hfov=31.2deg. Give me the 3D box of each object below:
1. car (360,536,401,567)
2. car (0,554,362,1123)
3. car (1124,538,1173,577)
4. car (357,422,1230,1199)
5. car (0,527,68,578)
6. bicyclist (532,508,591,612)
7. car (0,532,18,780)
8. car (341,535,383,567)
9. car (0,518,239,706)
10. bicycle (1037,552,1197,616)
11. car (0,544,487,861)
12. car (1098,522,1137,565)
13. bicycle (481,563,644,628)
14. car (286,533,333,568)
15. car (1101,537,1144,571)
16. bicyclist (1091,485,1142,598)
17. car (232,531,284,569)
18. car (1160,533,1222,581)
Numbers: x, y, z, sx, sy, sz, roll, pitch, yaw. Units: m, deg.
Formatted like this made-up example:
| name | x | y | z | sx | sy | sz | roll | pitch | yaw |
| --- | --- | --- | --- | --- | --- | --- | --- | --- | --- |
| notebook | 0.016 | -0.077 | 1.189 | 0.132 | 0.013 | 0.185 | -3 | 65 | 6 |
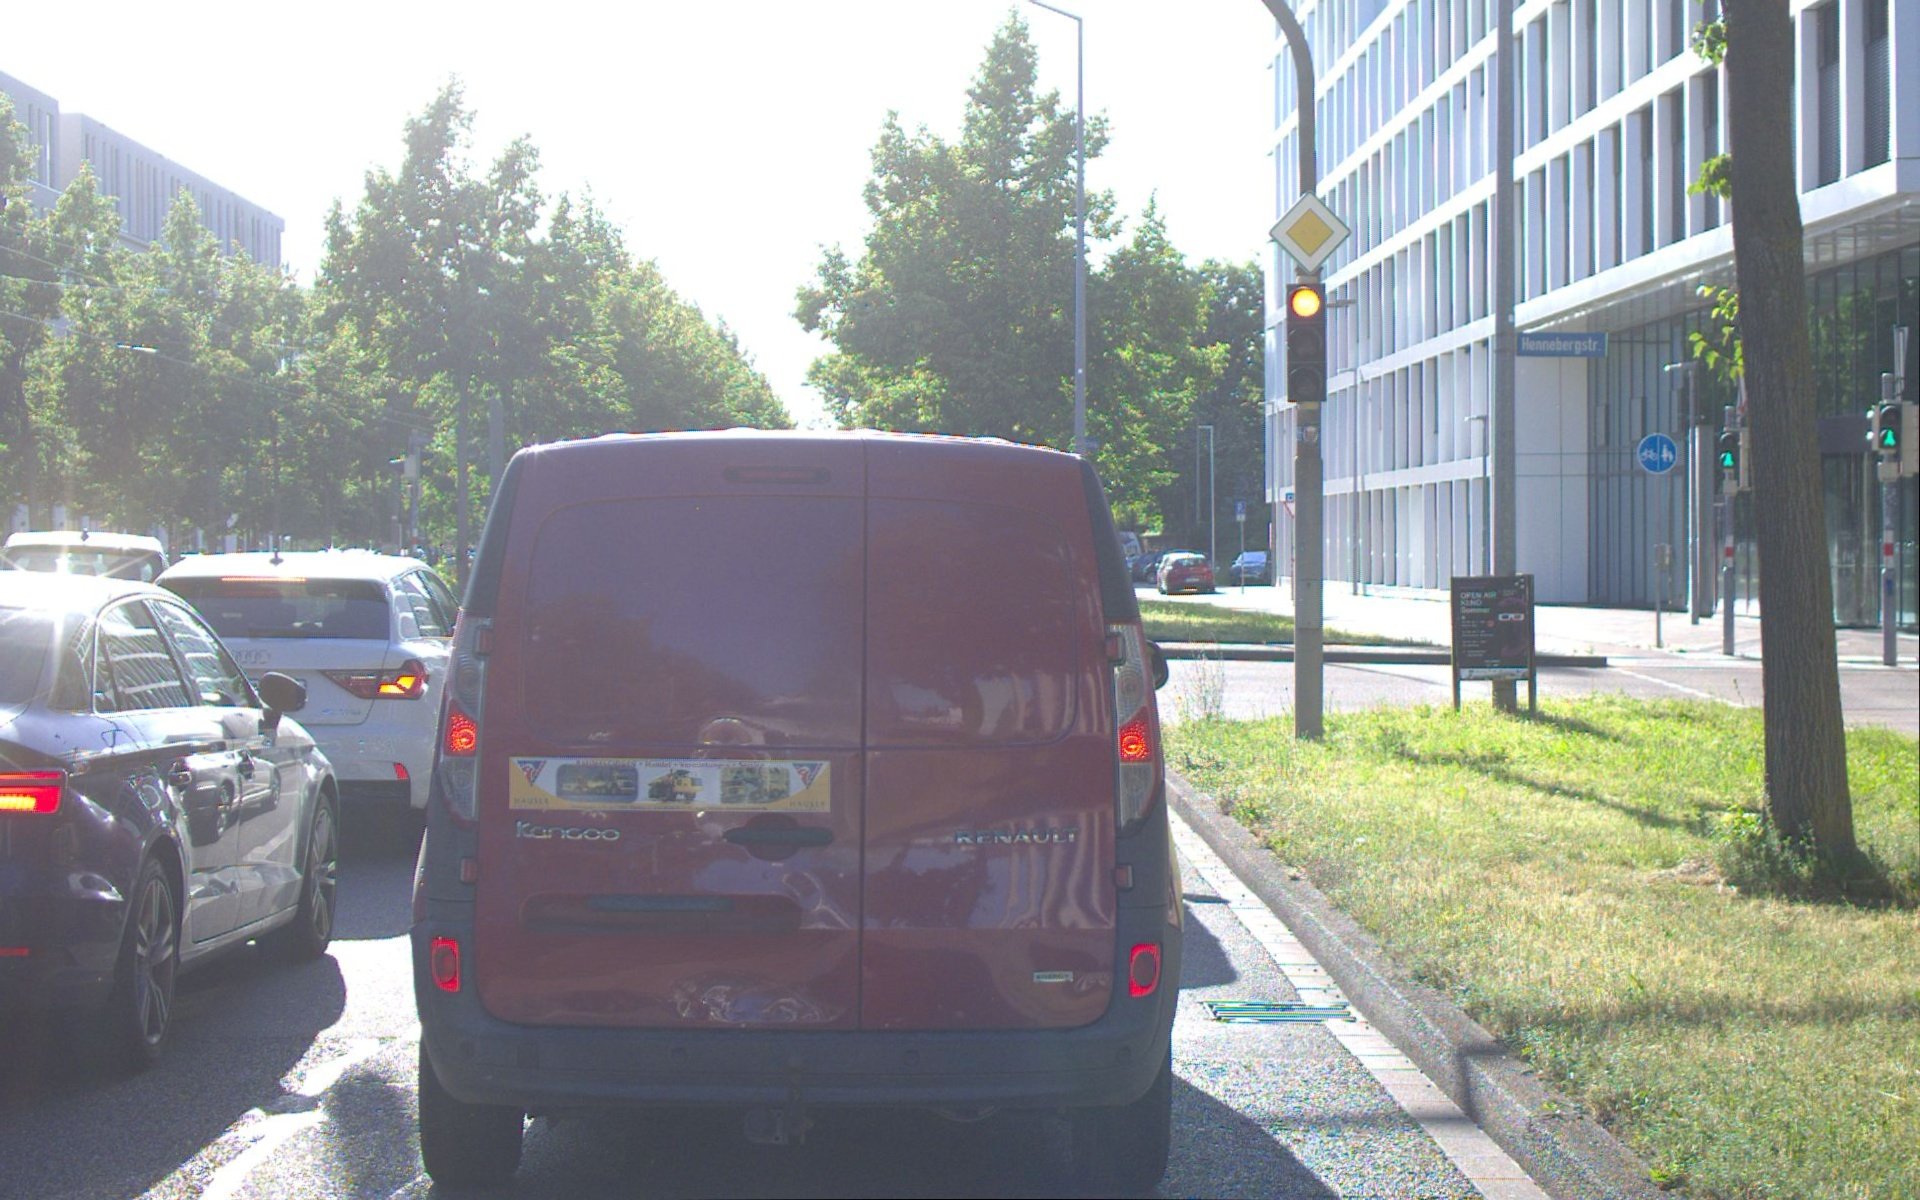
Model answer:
| name | x | y | z | sx | sy | sz | roll | pitch | yaw |
| --- | --- | --- | --- | --- | --- | --- | --- | --- | --- |
| car | -37.544 | -3.159 | 222.862 | 1.993 | 2.007 | 4.000 | 0 | 1 | -1 |
| car | -3.170 | 0.578 | 10.908 | 1.842 | 1.421 | 4.339 | 0 | 1 | -1 |
| car | 8.785 | -1.995 | 160.612 | 1.993 | 1.776 | 4.000 | 0 | 1 | -1 |
| car | -0.378 | 0.475 | 9.274 | 1.842 | 1.774 | 4.000 | 0 | 1 | -1 |
| car | -36.899 | -1.903 | 136.493 | 1.993 | 2.007 | 4.000 | 0 | 1 | -1 |
| bicyclist | -7.452 | -0.757 | 64.347 | 0.998 | 1.940 | 0.818 | 0 | 1 | 1 |
| car | -6.532 | 0.368 | 18.915 | 1.515 | 1.487 | 4.216 | 0 | 1 | 0 |
| car | -37.756 | -3.101 | 217.238 | 1.993 | 2.007 | 4.000 | 0 | 1 | -1 |
| car | -7.071 | 0.046 | 28.677 | 1.798 | 1.442 | 4.570 | 0 | 1 | -8 |
| bicycle | 2.925 | -0.296 | 63.924 | 2.942 | 1.186 | 0.818 | 0 | 1 | 4 |
| car | -3.568 | 0.435 | 17.575 | 1.803 | 1.421 | 3.901 | 0 | 1 | -1 |
| car | 9.074 | -3.263 | 198.319 | 1.993 | 2.488 | 4.987 | 0 | 1 | -1 |
| bicycle | -7.436 | -0.090 | 64.342 | 2.942 | 1.186 | 0.818 | 0 | 1 | 1 |
| car | -37.675 | -2.887 | 199.220 | 1.993 | 2.007 | 4.000 | 0 | 1 | -1 |
| car | 8.487 | -2.430 | 179.810 | 1.993 | 1.776 | 4.000 | 0 | 1 | -1 |
| bicyclist | 2.917 | -1.088 | 63.923 | 0.940 | 2.085 | 0.818 | 0 | 1 | 4 |
| car | -37.226 | -2.672 | 182.406 | 1.993 | 2.007 | 4.000 | 0 | 1 | -1 |
| car | 8.578 | -1.618 | 127.845 | 1.993 | 1.776 | 4.000 | 0 | 1 | -1 |
